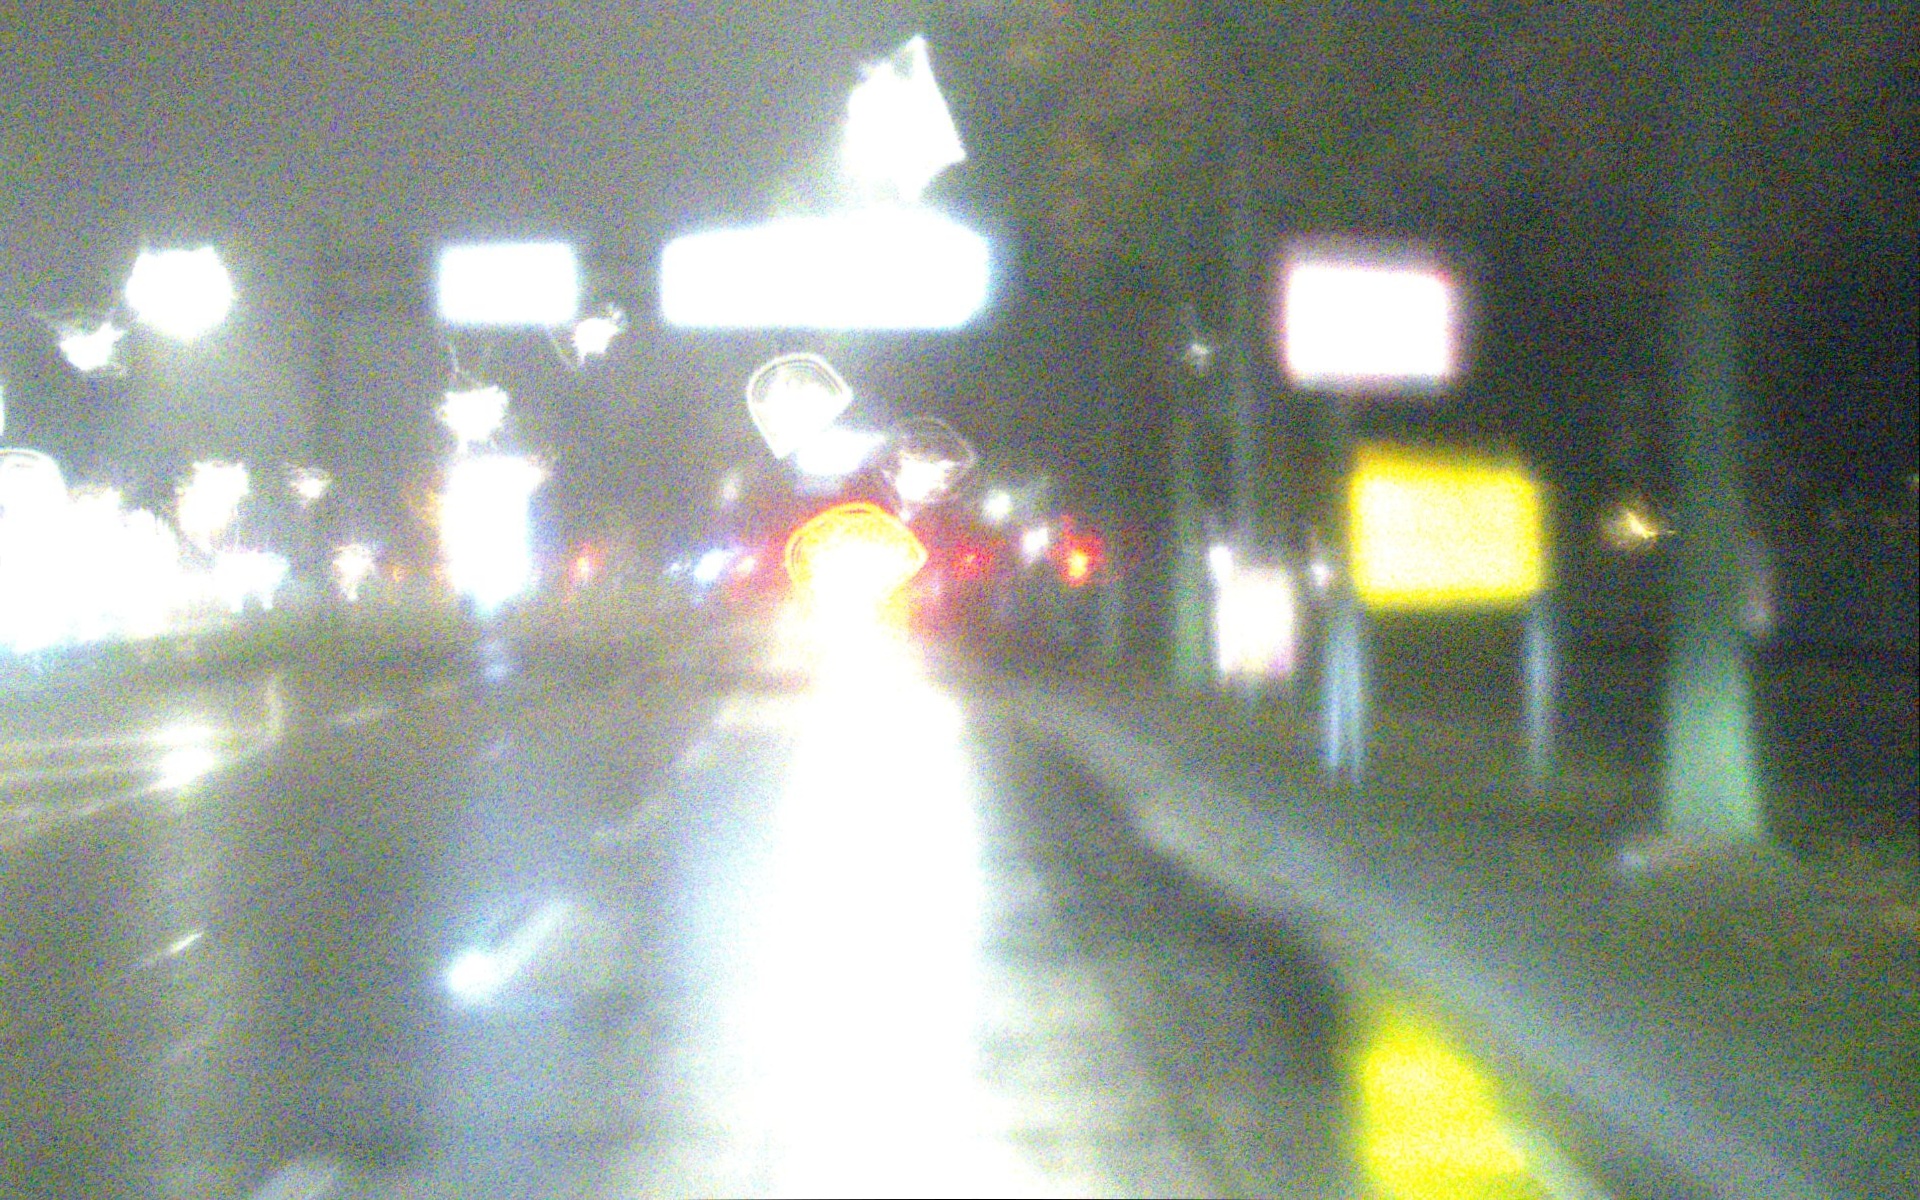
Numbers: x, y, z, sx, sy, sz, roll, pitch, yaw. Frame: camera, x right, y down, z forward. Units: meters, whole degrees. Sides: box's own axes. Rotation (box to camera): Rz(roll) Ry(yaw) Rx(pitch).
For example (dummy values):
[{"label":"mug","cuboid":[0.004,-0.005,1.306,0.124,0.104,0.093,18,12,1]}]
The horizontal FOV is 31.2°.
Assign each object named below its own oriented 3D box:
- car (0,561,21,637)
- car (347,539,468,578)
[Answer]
[{"label":"car","cuboid":[-22.431,-0.020,76.473,2.024,1.678,4.549,1,1,-3]},{"label":"car","cuboid":[-31.366,-2.350,195.270,6.292,2.082,2.516,0,1,-26]}]
